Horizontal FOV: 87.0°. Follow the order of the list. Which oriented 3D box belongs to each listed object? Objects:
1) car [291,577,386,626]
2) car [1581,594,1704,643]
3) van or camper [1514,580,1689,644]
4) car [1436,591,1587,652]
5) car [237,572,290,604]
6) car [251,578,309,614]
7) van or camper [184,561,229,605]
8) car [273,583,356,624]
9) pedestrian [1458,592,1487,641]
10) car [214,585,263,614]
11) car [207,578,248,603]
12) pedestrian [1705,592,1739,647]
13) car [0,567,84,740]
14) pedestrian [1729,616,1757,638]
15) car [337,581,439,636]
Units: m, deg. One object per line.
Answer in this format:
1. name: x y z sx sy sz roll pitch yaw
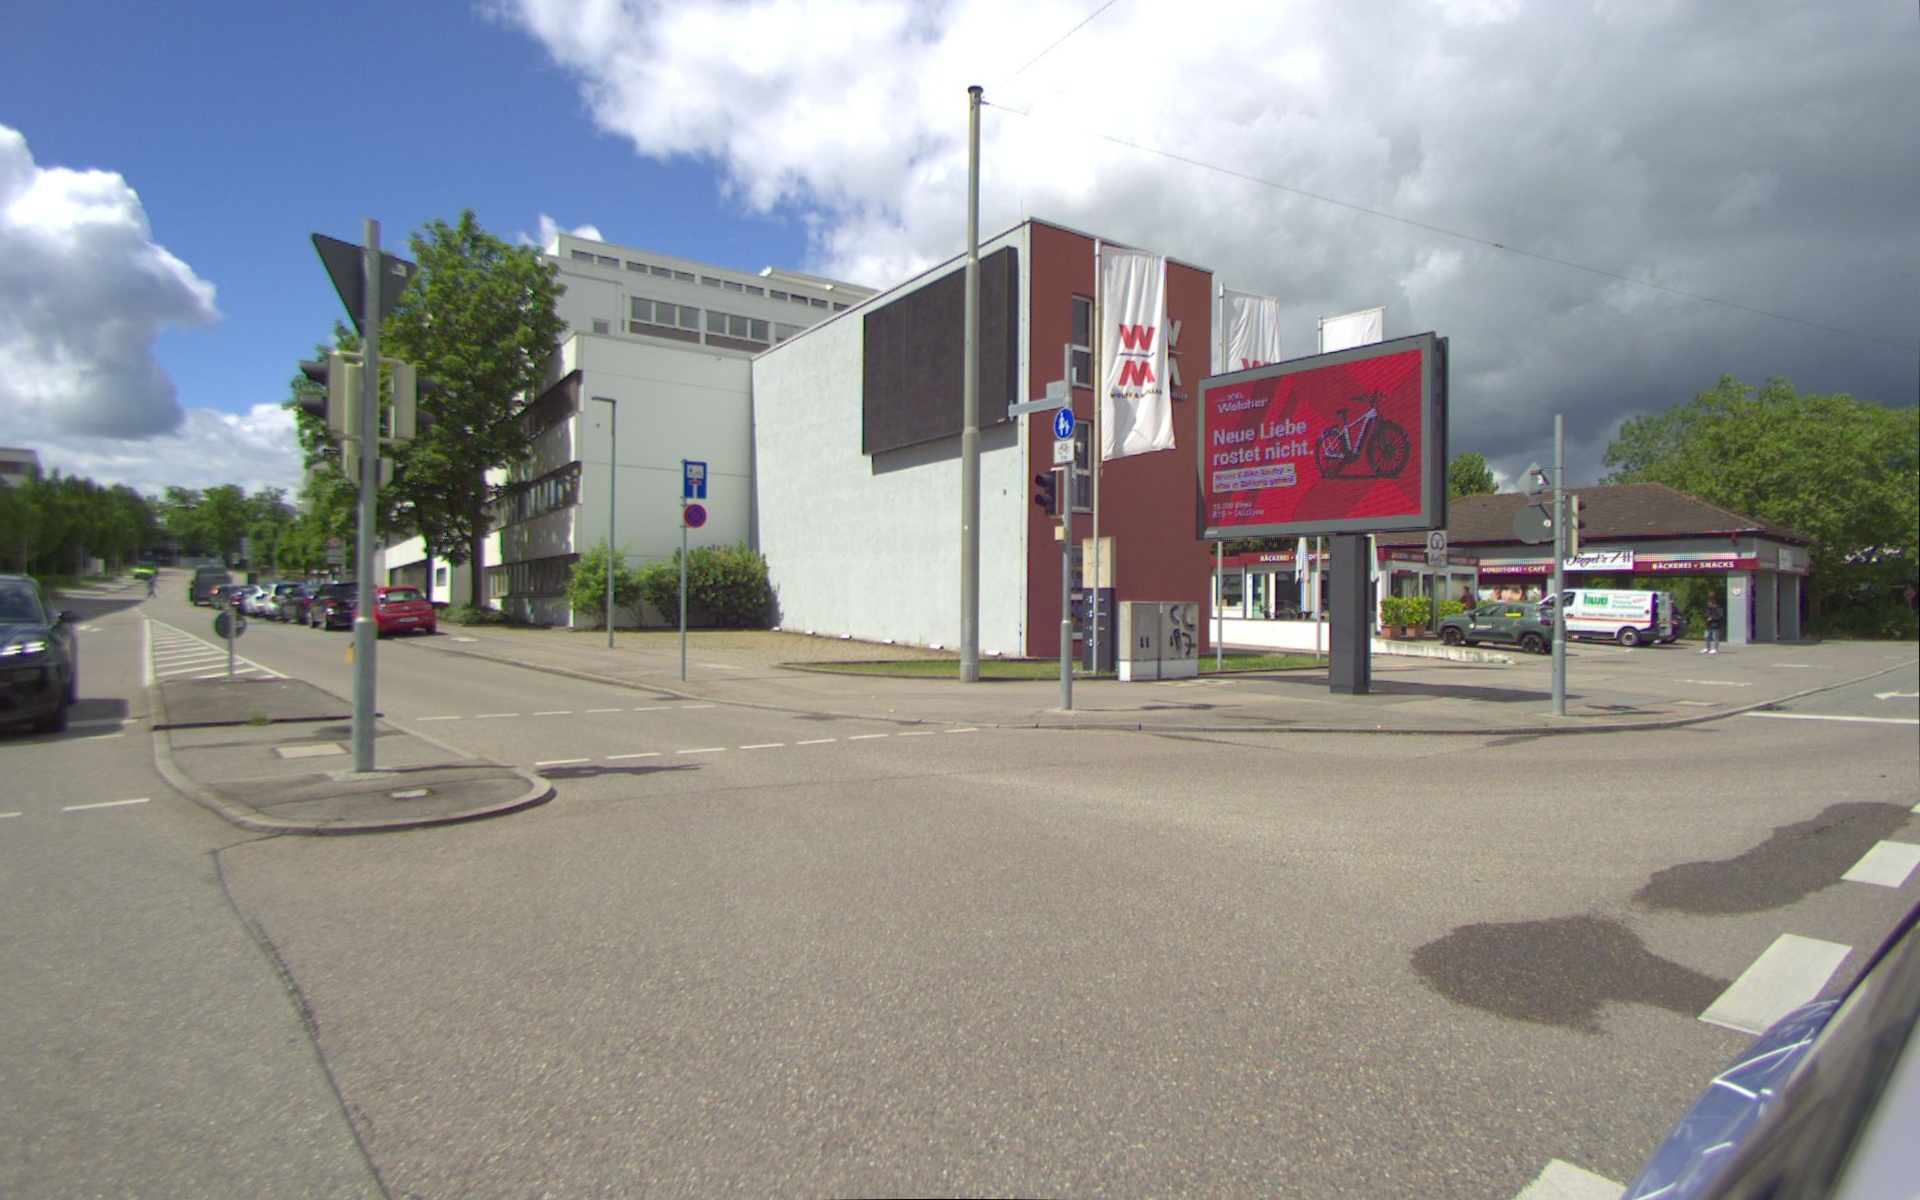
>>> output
1. car: -21.453 0.021 34.853 4.300 1.589 1.841 1 0 45
2. car: 25.718 0.652 38.210 1.804 1.503 3.458 -1 5 -42
3. van or camper: 23.146 0.365 36.688 2.172 1.981 4.910 -1 3 -39
4. car: 17.055 0.611 31.441 1.729 1.503 3.679 0 4 -38
5. car: -32.199 -0.531 46.767 1.472 1.357 3.528 1 -1 -44
6. car: -29.478 -0.129 43.848 1.472 1.480 3.528 1 -1 -44
7. van or camper: -49.561 -1.114 66.488 1.965 2.772 5.115 1 0 -41
8. car: -25.181 0.092 39.427 4.300 1.480 1.841 1 1 45
9. pedestrian: 18.552 0.596 36.633 0.558 1.729 0.752 1 0 -13
10. car: -35.714 -0.017 50.069 1.472 1.357 3.528 1 -1 -44
11. car: -43.255 -0.550 59.727 1.472 1.357 3.528 1 -1 -44
12. pedestrian: 24.316 0.606 32.293 0.726 1.729 0.713 1 -1 -40
13. car: -10.928 0.482 11.068 1.965 1.639 4.648 1 0 -40
14. pedestrian: 45.675 1.569 59.011 0.945 1.264 0.888 1 -1 -11
15. car: -17.518 0.211 30.957 3.669 1.479 1.719 1 5 45
